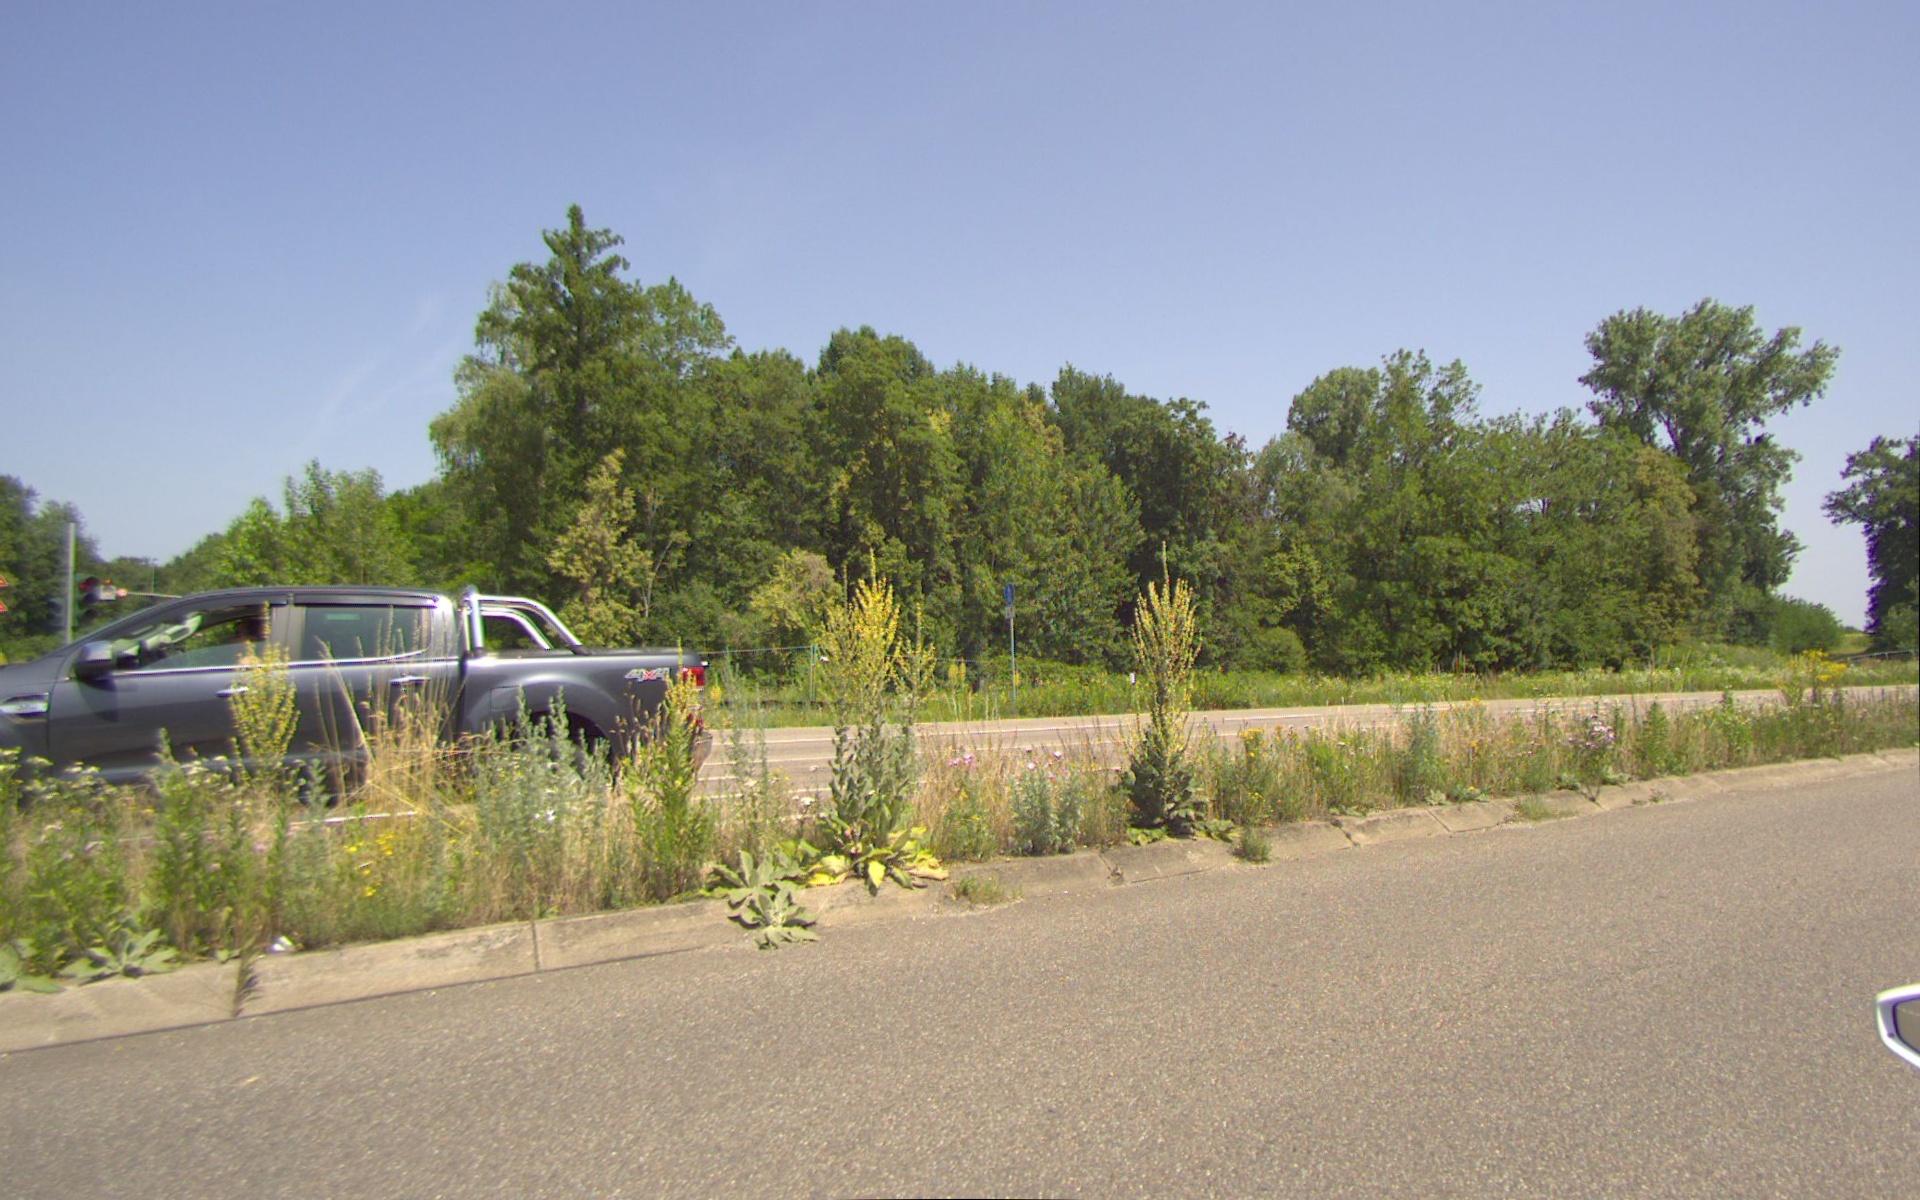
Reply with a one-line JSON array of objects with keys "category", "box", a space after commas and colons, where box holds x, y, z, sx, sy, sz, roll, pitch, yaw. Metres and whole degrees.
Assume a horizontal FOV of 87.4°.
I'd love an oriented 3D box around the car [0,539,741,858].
[{"category": "car", "box": [-4.384, 0.609, 6.927, 5.299, 1.699, 1.986, 1, -4, -29]}]
